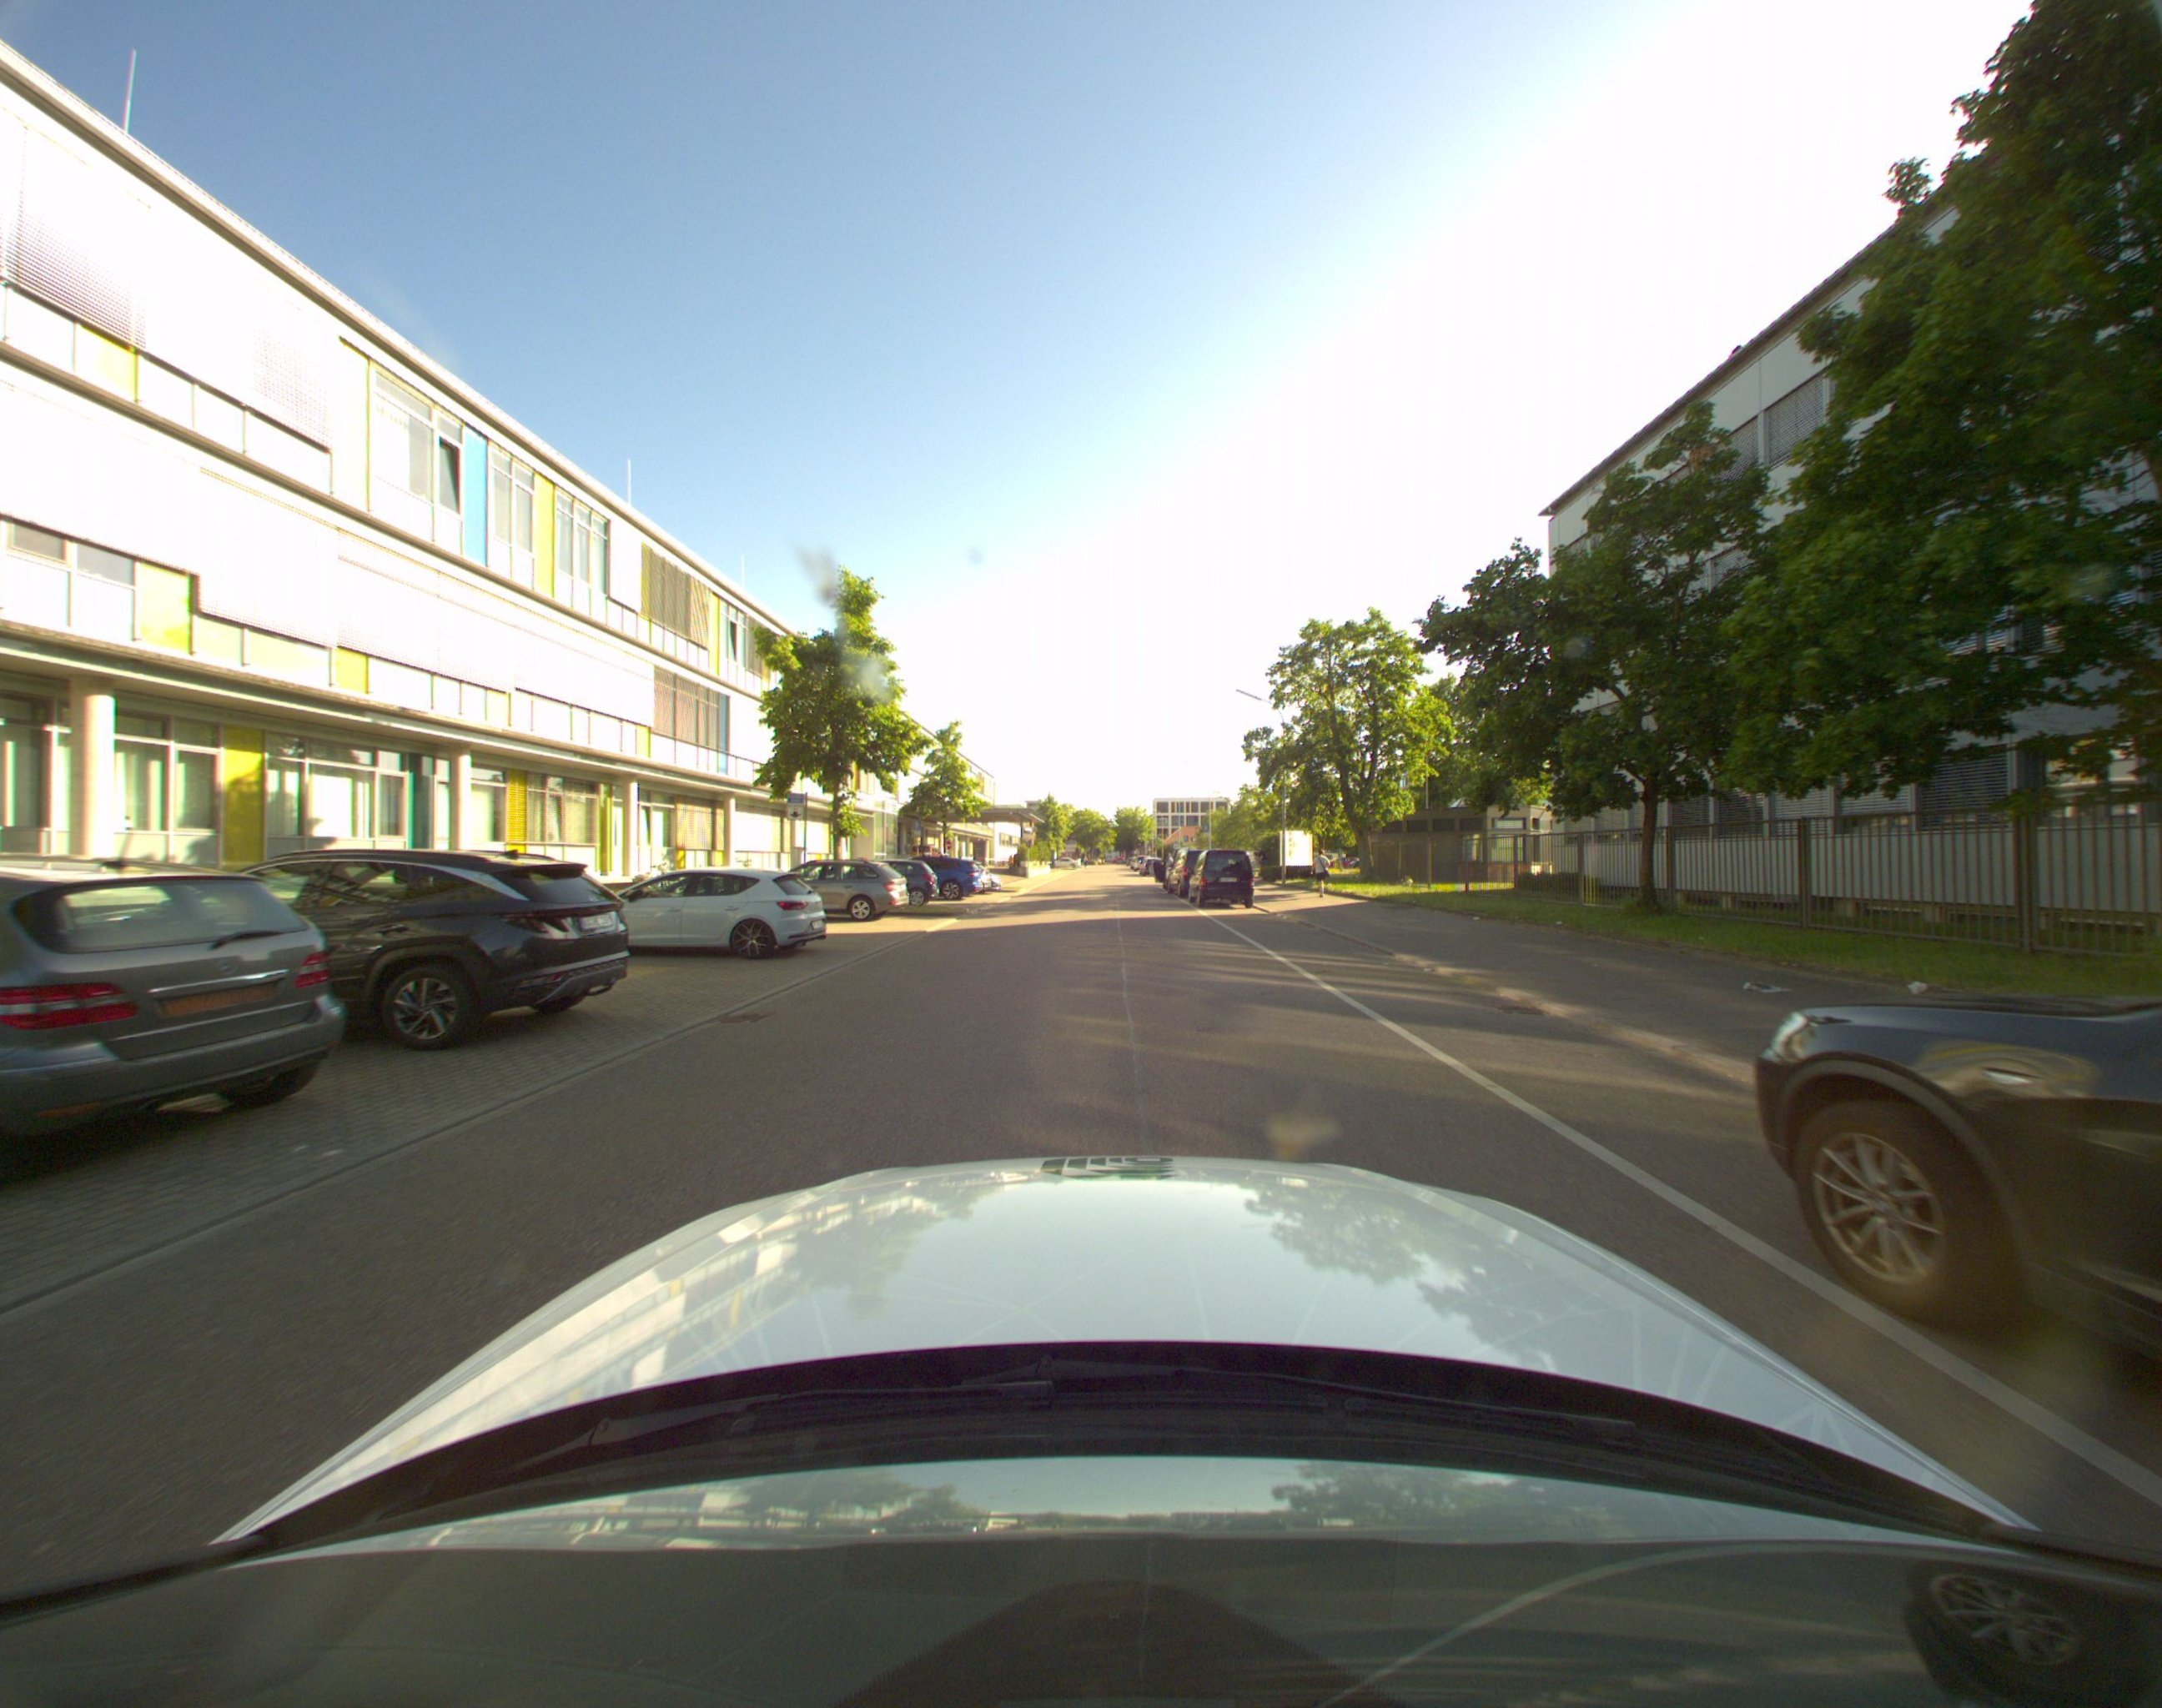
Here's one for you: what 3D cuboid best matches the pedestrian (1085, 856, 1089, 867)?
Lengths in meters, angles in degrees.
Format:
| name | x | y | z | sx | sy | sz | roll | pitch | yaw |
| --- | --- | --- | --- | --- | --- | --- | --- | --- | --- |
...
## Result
| name | x | y | z | sx | sy | sz | roll | pitch | yaw |
| --- | --- | --- | --- | --- | --- | --- | --- | --- | --- |
| pedestrian | 0.827 | 1.050 | 113.209 | 0.616 | 1.624 | 0.716 | -1 | 0 | 2 |

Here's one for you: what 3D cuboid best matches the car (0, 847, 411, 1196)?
| name | x | y | z | sx | sy | sz | roll | pitch | yaw |
| --- | --- | --- | --- | --- | --- | --- | --- | --- | --- |
| car | -6.667 | 0.767 | 4.673 | 3.976 | 1.607 | 1.871 | 1 | 0 | -2 |

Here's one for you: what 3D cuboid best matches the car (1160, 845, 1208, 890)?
| name | x | y | z | sx | sy | sz | roll | pitch | yaw |
| --- | --- | --- | --- | --- | --- | --- | --- | --- | --- |
| car | 4.858 | 0.599 | 38.739 | 1.867 | 1.978 | 4.002 | -1 | 0 | 2 |

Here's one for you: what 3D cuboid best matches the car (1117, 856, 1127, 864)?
| name | x | y | z | sx | sy | sz | roll | pitch | yaw |
| --- | --- | --- | --- | --- | --- | --- | --- | --- | --- |
| car | 8.721 | 1.266 | 172.956 | 1.734 | 1.543 | 4.009 | 0 | 0 | 8 |

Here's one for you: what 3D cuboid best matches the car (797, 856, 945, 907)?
| name | x | y | z | sx | sy | sz | roll | pitch | yaw |
| --- | --- | --- | --- | --- | --- | --- | --- | --- | --- |
| car | -6.580 | 0.839 | 25.865 | 4.203 | 1.486 | 1.871 | 1 | 0 | -2 |

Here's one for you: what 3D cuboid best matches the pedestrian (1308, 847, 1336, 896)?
| name | x | y | z | sx | sy | sz | roll | pitch | yaw |
| --- | --- | --- | --- | --- | --- | --- | --- | --- | --- |
| pedestrian | 8.439 | 0.596 | 28.564 | 0.695 | 1.661 | 0.752 | -3 | 0 | 1 |

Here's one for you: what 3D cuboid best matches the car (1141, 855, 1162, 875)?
| name | x | y | z | sx | sy | sz | roll | pitch | yaw |
| --- | --- | --- | --- | --- | --- | --- | --- | --- | --- |
| car | 5.661 | 0.877 | 65.814 | 1.491 | 1.479 | 3.651 | -1 | 0 | 2 |

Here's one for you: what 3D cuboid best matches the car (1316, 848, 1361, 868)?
| name | x | y | z | sx | sy | sz | roll | pitch | yaw |
| --- | --- | --- | --- | --- | --- | --- | --- | --- | --- |
| car | 26.584 | 0.441 | 84.181 | 3.977 | 2.014 | 1.998 | 0 | -2 | -3 |

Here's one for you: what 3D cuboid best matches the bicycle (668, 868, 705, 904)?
| name | x | y | z | sx | sy | sz | roll | pitch | yaw |
| --- | --- | --- | --- | --- | --- | --- | --- | --- | --- |
| bicycle | -11.781 | 0.938 | 24.367 | 0.772 | 1.017 | 1.367 | -1 | 0 | -18 |

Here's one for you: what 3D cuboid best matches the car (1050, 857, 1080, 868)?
| name | x | y | z | sx | sy | sz | roll | pitch | yaw |
| --- | --- | --- | --- | --- | --- | --- | --- | --- | --- |
| car | -2.250 | 1.189 | 114.025 | 3.971 | 1.519 | 2.001 | -1 | 0 | 2 |

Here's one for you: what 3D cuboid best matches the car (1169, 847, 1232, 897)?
| name | x | y | z | sx | sy | sz | roll | pitch | yaw |
| --- | --- | --- | --- | --- | --- | --- | --- | --- | --- |
| car | 4.671 | 0.671 | 32.491 | 1.986 | 1.823 | 4.200 | -1 | 0 | 2 |

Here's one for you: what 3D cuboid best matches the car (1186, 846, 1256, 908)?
| name | x | y | z | sx | sy | sz | roll | pitch | yaw |
| --- | --- | --- | --- | --- | --- | --- | --- | --- | --- |
| car | 4.442 | 0.683 | 26.251 | 1.726 | 1.830 | 3.907 | 0 | 0 | 2 |

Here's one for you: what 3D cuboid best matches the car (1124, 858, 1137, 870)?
| name | x | y | z | sx | sy | sz | roll | pitch | yaw |
| --- | --- | --- | --- | --- | --- | --- | --- | --- | --- |
| car | 8.455 | 1.662 | 139.022 | 1.986 | 2.014 | 4.001 | 0 | -1 | 2 |

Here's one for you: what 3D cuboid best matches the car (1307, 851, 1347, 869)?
| name | x | y | z | sx | sy | sz | roll | pitch | yaw |
| --- | --- | --- | --- | --- | --- | --- | --- | --- | --- |
| car | 28.371 | 0.675 | 93.953 | 3.974 | 2.014 | 1.999 | 0 | -2 | -1 |

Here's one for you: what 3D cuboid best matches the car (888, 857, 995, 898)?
| name | x | y | z | sx | sy | sz | roll | pitch | yaw |
| --- | --- | --- | --- | --- | --- | --- | --- | --- | --- |
| car | -5.575 | 0.933 | 33.021 | 3.975 | 1.552 | 1.999 | -1 | 0 | -1 |

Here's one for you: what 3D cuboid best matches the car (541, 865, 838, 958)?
| name | x | y | z | sx | sy | sz | roll | pitch | yaw |
| --- | --- | --- | --- | --- | --- | --- | --- | --- | --- |
| car | -6.243 | 0.895 | 13.351 | 3.976 | 1.358 | 1.742 | 1 | 0 | -2 |

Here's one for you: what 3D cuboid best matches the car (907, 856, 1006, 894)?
| name | x | y | z | sx | sy | sz | roll | pitch | yaw |
| --- | --- | --- | --- | --- | --- | --- | --- | --- | --- |
| car | -5.342 | 0.903 | 35.373 | 3.975 | 1.552 | 1.999 | 0 | 0 | -1 |

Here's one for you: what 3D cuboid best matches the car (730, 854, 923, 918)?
| name | x | y | z | sx | sy | sz | roll | pitch | yaw |
| --- | --- | --- | --- | --- | --- | --- | --- | --- | --- |
| car | -6.269 | 0.781 | 20.446 | 4.203 | 1.462 | 1.871 | 1 | 0 | -2 |

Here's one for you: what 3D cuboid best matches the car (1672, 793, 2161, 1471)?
| name | x | y | z | sx | sy | sz | roll | pitch | yaw |
| --- | --- | --- | --- | --- | --- | --- | --- | --- | --- |
| car | 3.539 | 0.700 | 1.464 | 1.804 | 1.666 | 4.596 | 1 | 1 | 3 |

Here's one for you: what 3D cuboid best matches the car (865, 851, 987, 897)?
| name | x | y | z | sx | sy | sz | roll | pitch | yaw |
| --- | --- | --- | --- | --- | --- | --- | --- | --- | --- |
| car | -5.722 | 0.738 | 30.437 | 4.203 | 1.603 | 1.871 | 1 | 0 | -2 |

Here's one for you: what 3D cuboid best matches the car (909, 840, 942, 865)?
| name | x | y | z | sx | sy | sz | roll | pitch | yaw |
| --- | --- | --- | --- | --- | --- | --- | --- | --- | --- |
| car | -13.214 | -0.097 | 69.434 | 1.986 | 2.014 | 4.001 | 0 | -1 | 2 |

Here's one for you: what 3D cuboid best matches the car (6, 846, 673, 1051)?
| name | x | y | z | sx | sy | sz | roll | pitch | yaw |
| --- | --- | --- | --- | --- | --- | --- | --- | --- | --- |
| car | -6.483 | 0.781 | 7.625 | 4.235 | 1.612 | 2.047 | 1 | 0 | -2 |

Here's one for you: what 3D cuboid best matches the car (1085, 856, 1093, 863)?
| name | x | y | z | sx | sy | sz | roll | pitch | yaw |
| --- | --- | --- | --- | --- | --- | --- | --- | --- | --- |
| car | 1.875 | 1.248 | 180.363 | 1.721 | 1.536 | 4.000 | -1 | 0 | 1 |

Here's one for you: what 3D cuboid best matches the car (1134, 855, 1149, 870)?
| name | x | y | z | sx | sy | sz | roll | pitch | yaw |
| --- | --- | --- | --- | --- | --- | --- | --- | --- | --- |
| car | 6.483 | 0.902 | 87.367 | 1.430 | 1.560 | 3.043 | 0 | 0 | 2 |
